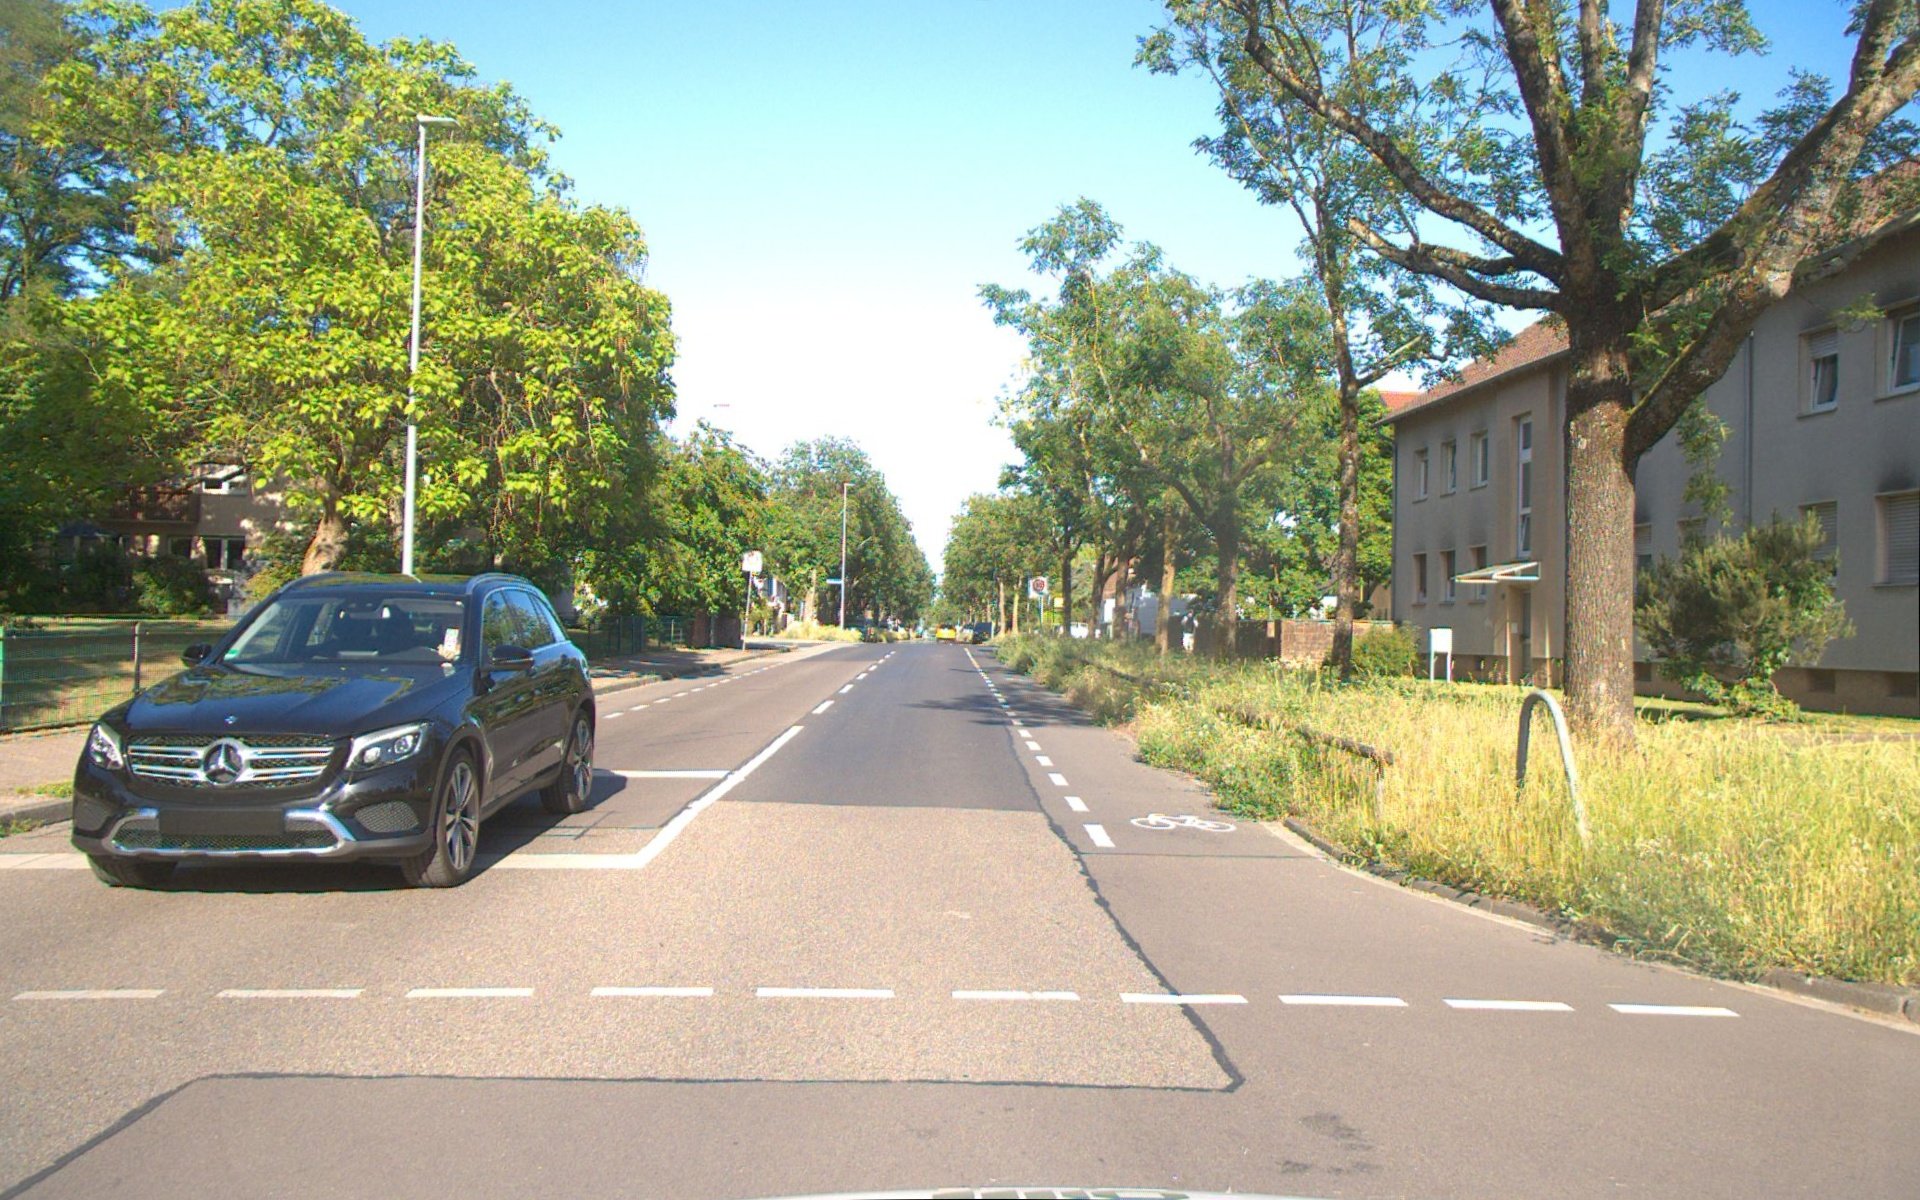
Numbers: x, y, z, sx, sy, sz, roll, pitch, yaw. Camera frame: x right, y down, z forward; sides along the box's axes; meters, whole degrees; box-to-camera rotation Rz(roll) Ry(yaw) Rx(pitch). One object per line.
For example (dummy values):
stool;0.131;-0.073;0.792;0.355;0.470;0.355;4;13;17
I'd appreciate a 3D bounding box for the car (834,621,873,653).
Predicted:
car;-6.432;2.274;100.520;1.913;1.757;4.874;3;-3;0

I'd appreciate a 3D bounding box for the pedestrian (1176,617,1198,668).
pedestrian;7.882;1.460;57.498;0.624;1.736;0.612;-1;0;-2

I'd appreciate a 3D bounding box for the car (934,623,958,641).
car;-1.279;2.840;146.933;1.850;1.505;3.885;4;-2;-3

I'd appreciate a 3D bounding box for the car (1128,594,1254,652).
car;10.837;1.096;77.788;5.484;2.584;2.264;1;-1;-4

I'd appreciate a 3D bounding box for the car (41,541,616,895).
car;-3.430;0.575;9.987;1.777;1.646;4.392;0;-1;0

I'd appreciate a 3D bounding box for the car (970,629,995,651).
car;1.763;3.147;128.671;1.815;1.654;4.468;0;-2;-1

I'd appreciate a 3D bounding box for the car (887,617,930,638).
car;-6.537;3.483;210.807;5.388;2.287;2.515;3;0;-2

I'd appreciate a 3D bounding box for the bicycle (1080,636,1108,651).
bicycle;9.545;3.066;117.483;1.918;1.016;0.576;0;0;-2
